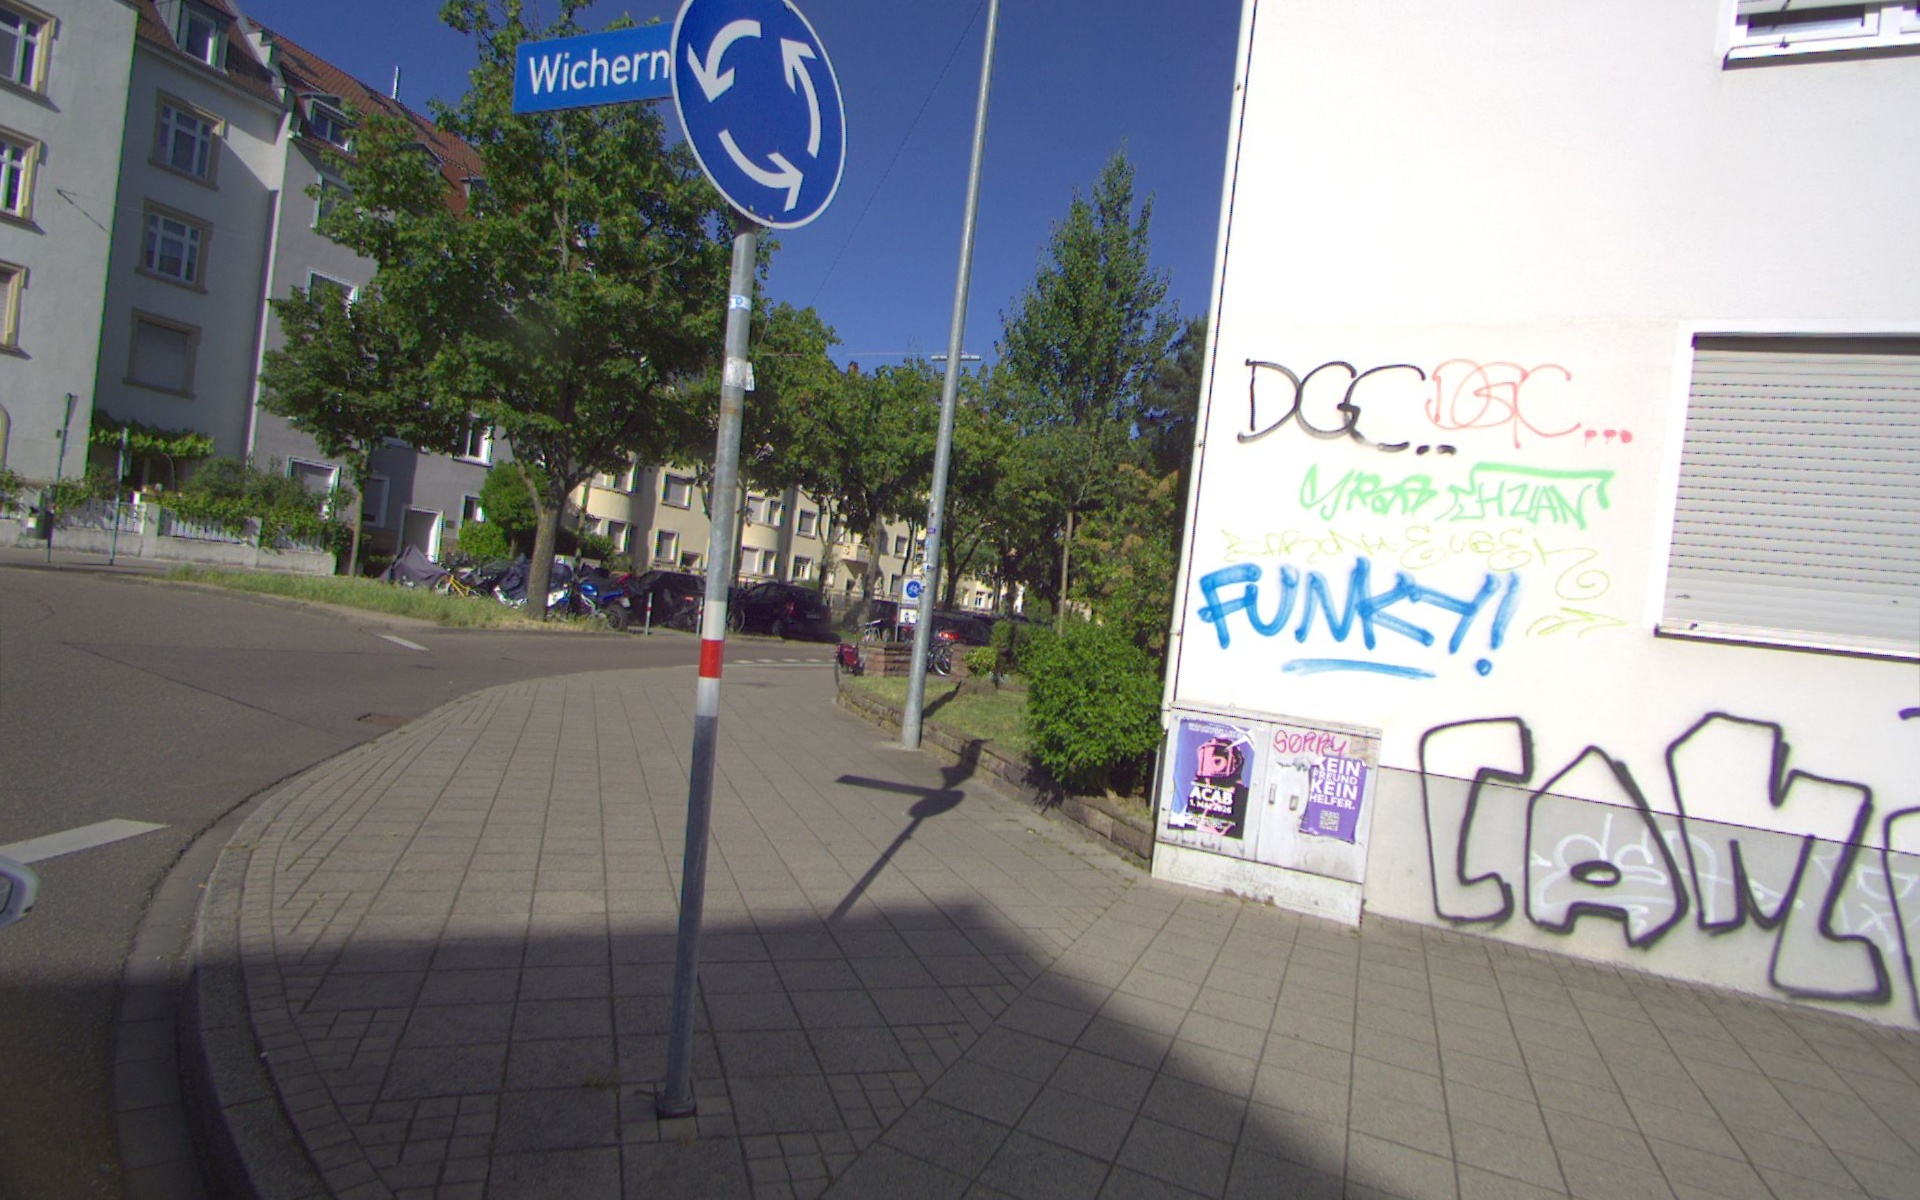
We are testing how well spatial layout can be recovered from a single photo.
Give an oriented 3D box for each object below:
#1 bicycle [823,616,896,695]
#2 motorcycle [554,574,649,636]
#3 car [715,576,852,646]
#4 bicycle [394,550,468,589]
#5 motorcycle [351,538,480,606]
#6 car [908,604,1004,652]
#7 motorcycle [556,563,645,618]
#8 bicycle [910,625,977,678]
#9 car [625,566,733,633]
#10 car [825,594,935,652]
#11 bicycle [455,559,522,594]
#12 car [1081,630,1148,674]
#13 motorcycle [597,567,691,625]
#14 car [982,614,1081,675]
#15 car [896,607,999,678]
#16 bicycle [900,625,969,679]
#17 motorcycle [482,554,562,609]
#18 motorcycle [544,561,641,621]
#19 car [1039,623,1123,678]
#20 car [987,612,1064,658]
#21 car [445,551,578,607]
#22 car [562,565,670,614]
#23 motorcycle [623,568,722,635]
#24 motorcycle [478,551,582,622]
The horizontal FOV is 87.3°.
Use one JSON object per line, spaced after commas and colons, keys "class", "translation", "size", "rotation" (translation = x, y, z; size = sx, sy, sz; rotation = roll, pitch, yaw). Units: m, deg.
{"class": "bicycle", "translation": [-1.477, 0.827, 15.089], "size": [0.377, 1.091, 1.625], "rotation": [5, -1, 19]}
{"class": "motorcycle", "translation": [-7.839, 0.112, 21.995], "size": [1.812, 1.086, 0.813], "rotation": [8, 1, 25]}
{"class": "car", "translation": [-5.428, 0.318, 30.737], "size": [3.946, 1.617, 1.991], "rotation": [7, -1, 43]}
{"class": "bicycle", "translation": [-18.478, -1.049, 35.202], "size": [0.671, 1.072, 2.254], "rotation": [7, 0, 27]}
{"class": "motorcycle", "translation": [-13.319, -0.685, 24.606], "size": [2.732, 1.283, 1.127], "rotation": [7, 0, 19]}
{"class": "car", "translation": [-0.198, 1.175, 43.027], "size": [1.770, 1.567, 3.951], "rotation": [7, 0, -43]}
{"class": "motorcycle", "translation": [-10.399, -0.268, 29.108], "size": [2.202, 1.283, 1.051], "rotation": [7, 0, 24]}
{"class": "bicycle", "translation": [-0.379, 1.150, 22.662], "size": [1.424, 1.070, 0.330], "rotation": [4, 0, 23]}
{"class": "car", "translation": [-8.703, -0.048, 30.967], "size": [1.788, 1.660, 3.837], "rotation": [7, 0, -37]}
{"class": "car", "translation": [-2.993, 0.836, 37.066], "size": [1.867, 1.617, 3.953], "rotation": [8, -1, -42]}
{"class": "bicycle", "translation": [-17.538, -0.853, 37.488], "size": [0.671, 1.072, 2.254], "rotation": [7, 0, 27]}
{"class": "car", "translation": [6.435, 2.157, 41.626], "size": [1.752, 1.503, 3.999], "rotation": [8, 0, 22]}
{"class": "motorcycle", "translation": [-8.586, -0.101, 27.337], "size": [2.202, 1.283, 1.051], "rotation": [7, 0, 24]}
{"class": "car", "translation": [2.256, 1.375, 30.754], "size": [1.752, 1.503, 3.999], "rotation": [8, 0, 22]}
{"class": "car", "translation": [-0.224, 1.054, 25.670], "size": [1.798, 1.429, 4.002], "rotation": [8, 0, 10]}
{"class": "bicycle", "translation": [-0.566, 1.141, 22.227], "size": [1.424, 1.070, 0.330], "rotation": [4, 0, 23]}
{"class": "motorcycle", "translation": [-12.032, -0.501, 27.621], "size": [1.860, 1.252, 0.889], "rotation": [7, 0, 24]}
{"class": "motorcycle", "translation": [-9.703, -0.237, 26.546], "size": [2.202, 1.283, 1.051], "rotation": [7, 0, 24]}
{"class": "car", "translation": [4.364, 1.804, 35.820], "size": [1.752, 1.524, 3.999], "rotation": [12, 2, 22]}
{"class": "car", "translation": [3.131, 1.663, 48.849], "size": [1.863, 1.744, 3.975], "rotation": [7, 0, -25]}
{"class": "car", "translation": [-15.193, -0.682, 34.284], "size": [1.721, 1.462, 3.955], "rotation": [5, -1, 22]}
{"class": "car", "translation": [-13.242, -0.376, 38.943], "size": [1.721, 1.462, 3.853], "rotation": [8, 0, 22]}
{"class": "motorcycle", "translation": [-7.298, 0.040, 25.566], "size": [2.088, 1.409, 1.062], "rotation": [7, 0, 23]}
{"class": "motorcycle", "translation": [-9.754, -0.294, 22.824], "size": [2.016, 1.344, 0.863], "rotation": [7, 0, 21]}
